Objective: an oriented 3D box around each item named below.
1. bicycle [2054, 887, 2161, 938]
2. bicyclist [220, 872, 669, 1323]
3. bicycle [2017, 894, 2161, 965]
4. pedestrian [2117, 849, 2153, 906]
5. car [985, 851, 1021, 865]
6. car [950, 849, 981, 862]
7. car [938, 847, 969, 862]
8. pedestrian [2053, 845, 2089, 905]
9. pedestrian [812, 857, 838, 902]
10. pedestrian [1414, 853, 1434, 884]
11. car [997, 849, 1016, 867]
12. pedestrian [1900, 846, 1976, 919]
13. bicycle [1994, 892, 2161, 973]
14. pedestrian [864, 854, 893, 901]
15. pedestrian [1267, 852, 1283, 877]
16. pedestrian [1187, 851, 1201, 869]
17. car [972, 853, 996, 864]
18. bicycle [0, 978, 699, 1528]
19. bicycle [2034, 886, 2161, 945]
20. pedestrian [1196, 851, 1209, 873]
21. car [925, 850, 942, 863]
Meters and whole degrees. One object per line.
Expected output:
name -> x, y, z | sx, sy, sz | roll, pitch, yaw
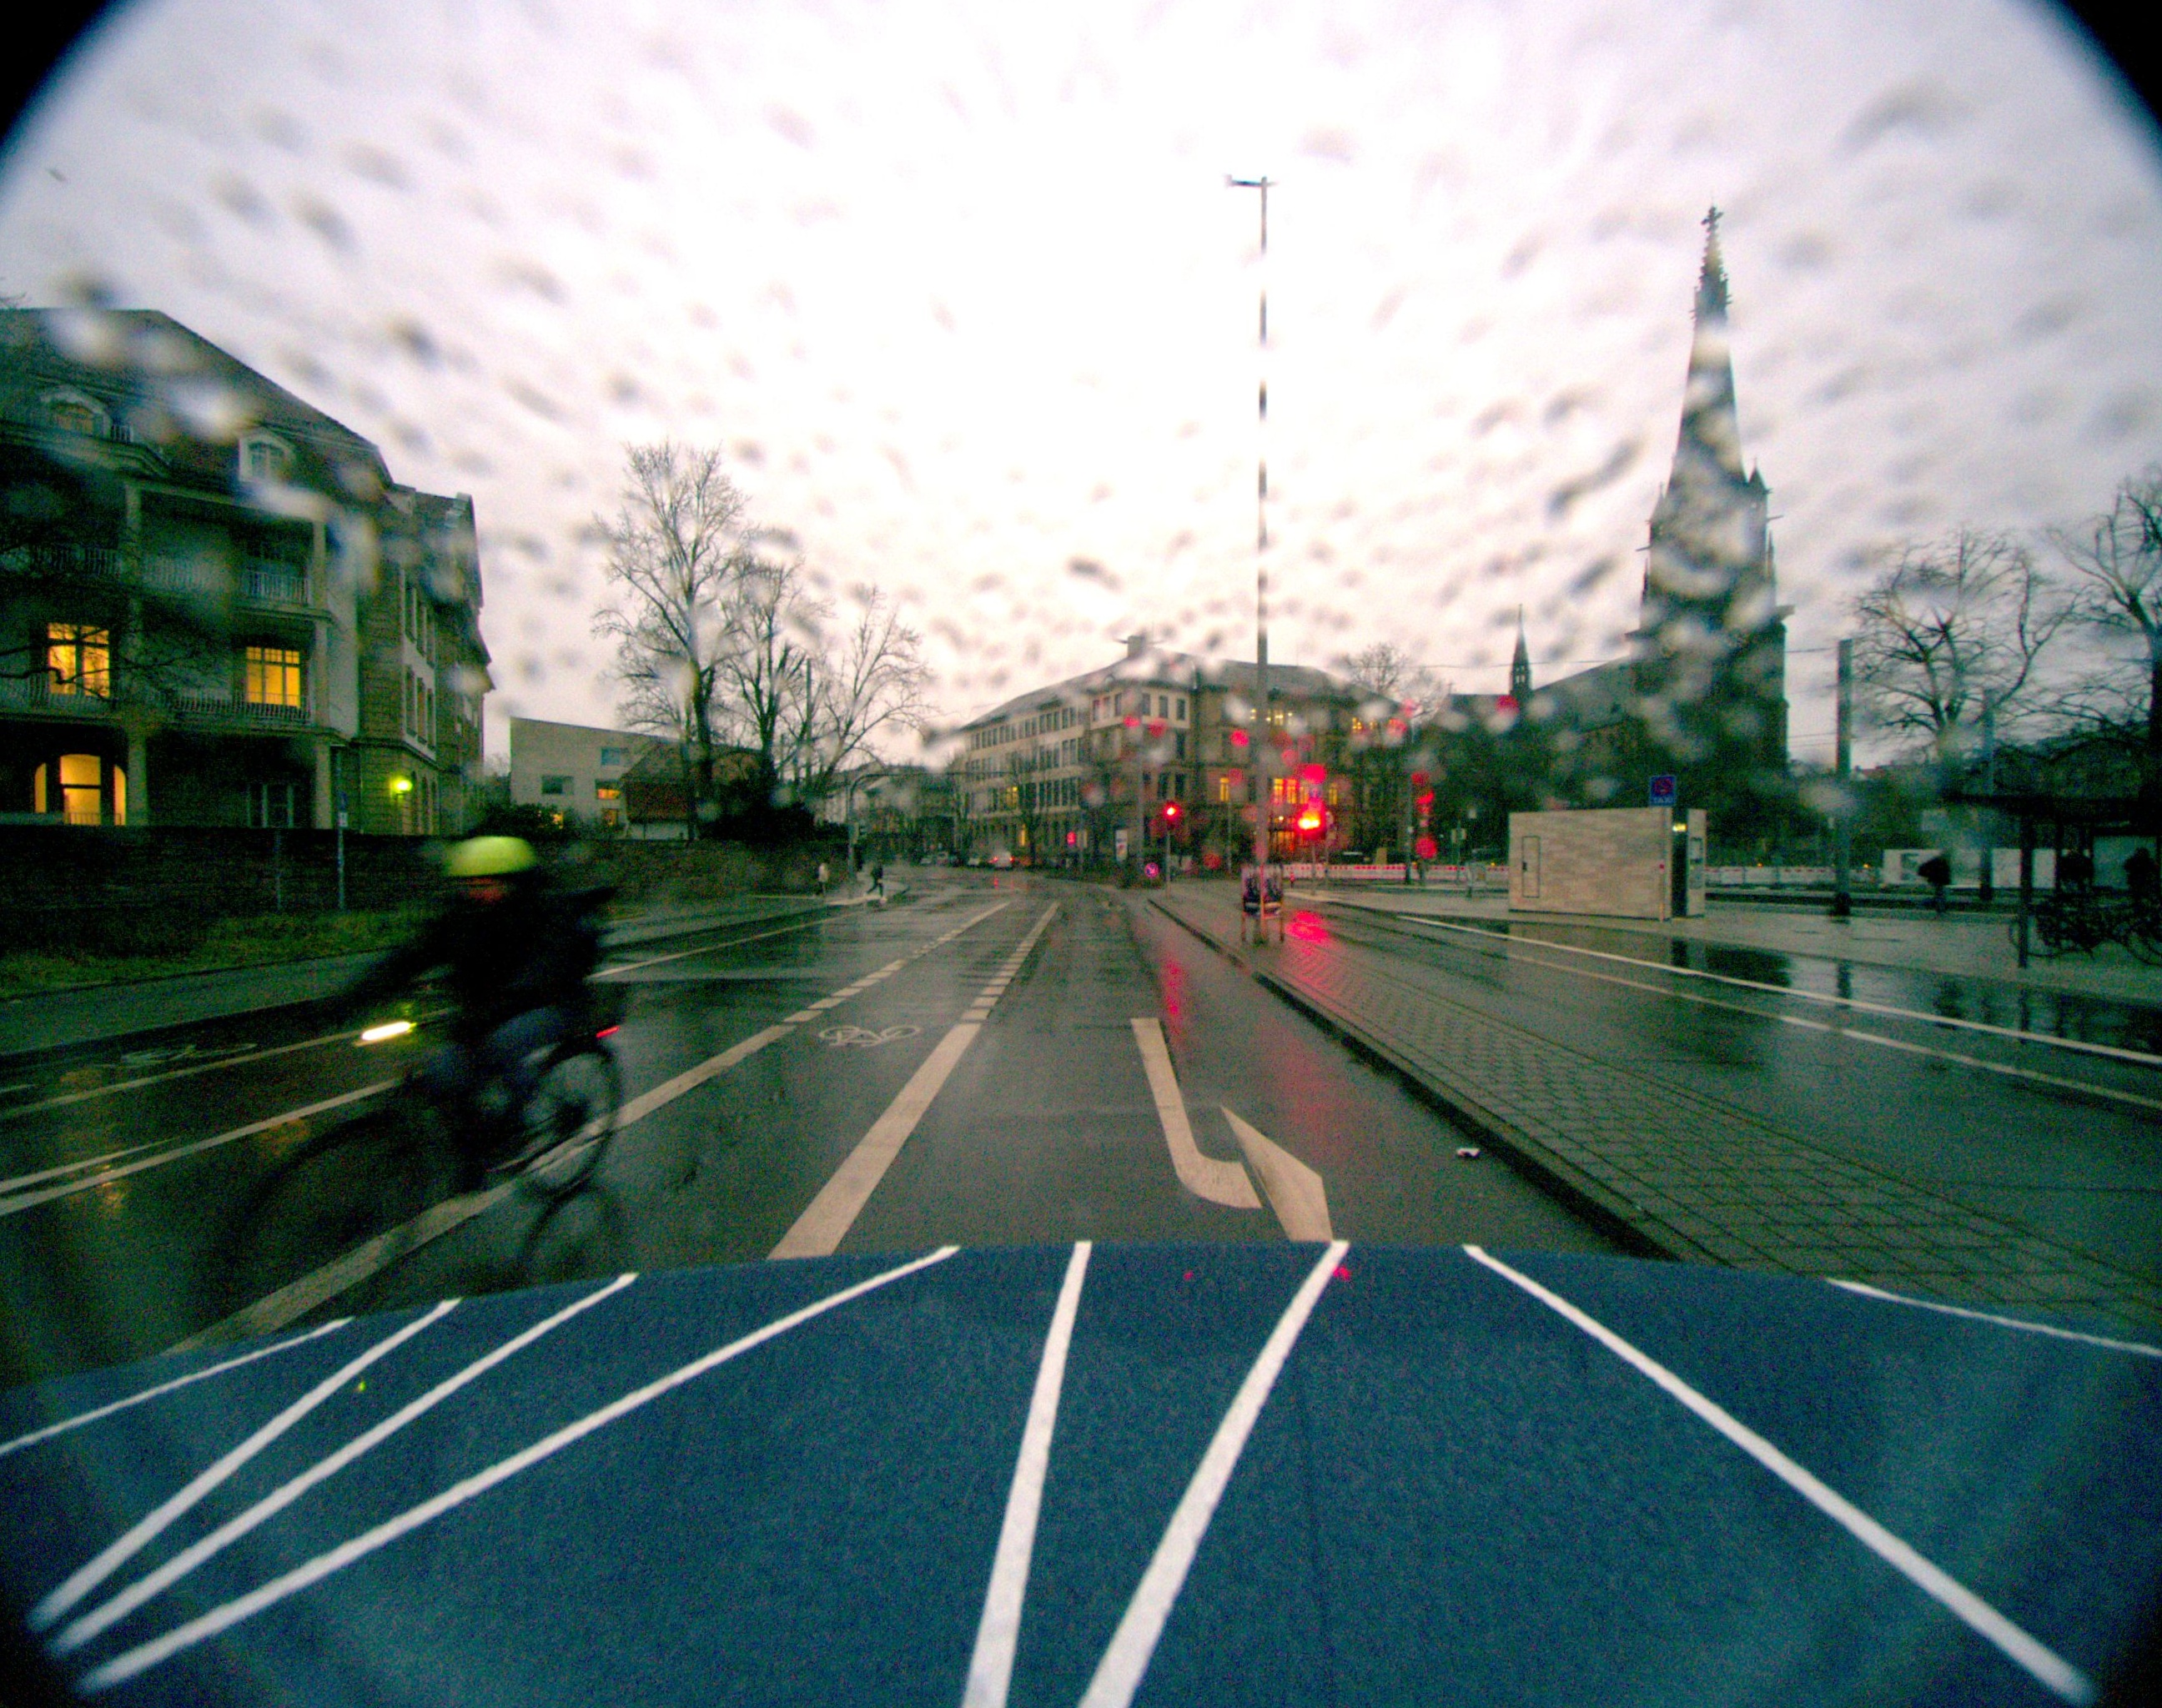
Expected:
bicycle -> 20.851, 1.158, 15.016 | 0.475, 0.905, 1.921 | -2, 2, -30
bicyclist -> -2.418, 0.827, 3.089 | 0.785, 1.444, 1.134 | -2, 1, 1
bicycle -> 16.620, 1.211, 12.215 | 0.475, 0.980, 1.921 | -2, 2, -30
pedestrian -> 31.052, 0.687, 22.385 | 0.541, 1.642, 0.562 | -3, 2, -41
car -> -9.276, 0.484, 90.535 | 1.797, 1.541, 4.007 | -1, 1, 45
car -> -15.087, 0.204, 99.405 | 1.797, 1.541, 4.007 | -2, 1, 28
car -> -16.992, 0.080, 101.470 | 2.043, 1.889, 4.007 | -2, 1, 28
pedestrian -> 30.239, 0.638, 23.214 | 0.673, 1.785, 0.626 | -3, 2, -41
pedestrian -> -10.097, 0.996, 29.953 | 0.798, 1.713, 0.674 | 1, 1, -3
pedestrian -> 19.087, 0.794, 42.278 | 0.771, 1.651, 1.210 | -1, 1, 35
car -> -8.037, 0.388, 82.338 | 1.883, 1.835, 3.997 | -2, 1, -5
pedestrian -> 21.478, 0.703, 19.057 | 1.013, 1.754, 1.065 | 1, 0, -30
bicycle -> 15.502, 1.178, 11.610 | 0.475, 1.064, 1.921 | -2, 2, -30
pedestrian -> -8.345, 0.950, 31.308 | 0.999, 1.890, 0.674 | 1, 1, -1
pedestrian -> 15.232, 0.817, 59.514 | 0.675, 1.890, 0.971 | 0, 2, -42
pedestrian -> 10.413, 0.559, 70.133 | 0.829, 1.714, 0.926 | 0, 0, -37
car -> -12.131, 0.578, 95.306 | 1.706, 1.298, 3.647 | -2, 1, 16
bicycle -> -2.402, 1.201, 2.948 | 0.785, 1.069, 1.957 | -2, 1, 1
bicycle -> 19.695, 1.166, 14.426 | 0.475, 0.980, 1.921 | -2, 2, -30
pedestrian -> 10.417, 0.696, 65.286 | 0.675, 1.806, 0.895 | 0, 1, -35
car -> -20.732, 0.376, 106.845 | 2.000, 1.660, 3.997 | -2, 1, -7
